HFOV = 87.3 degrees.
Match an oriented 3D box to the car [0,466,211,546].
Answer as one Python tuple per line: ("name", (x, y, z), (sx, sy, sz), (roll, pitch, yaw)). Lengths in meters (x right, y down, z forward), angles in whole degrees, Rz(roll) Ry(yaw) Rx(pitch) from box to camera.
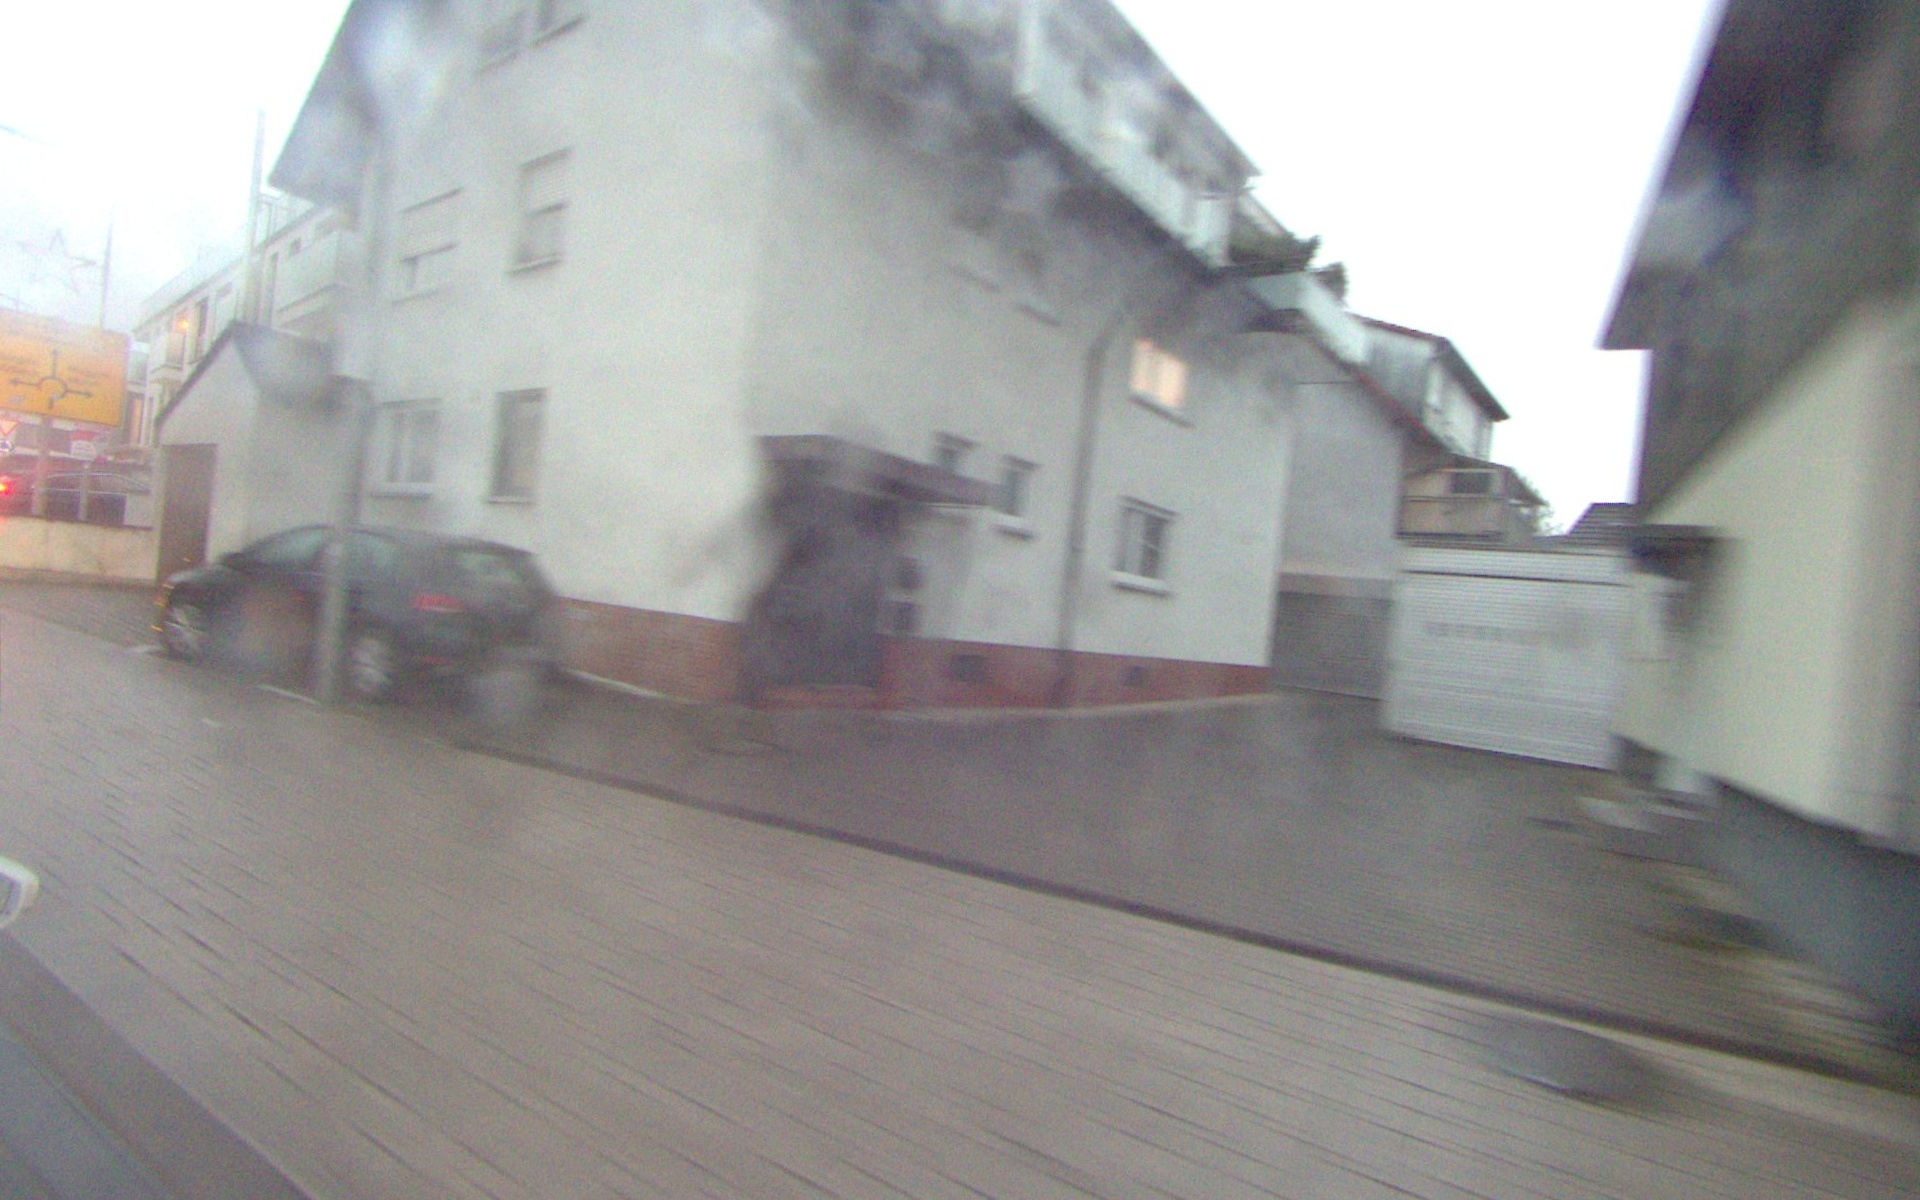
("car", (-20.284, -2.168, 23.473), (1.775, 1.664, 4.165), (7, 7, 35))

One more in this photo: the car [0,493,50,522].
("car", (-52.179, -5.137, 56.095), (1.553, 1.432, 3.568), (2, 3, -34))

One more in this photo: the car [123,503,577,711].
("car", (-5.831, 0.007, 9.611), (3.843, 1.412, 1.769), (7, 2, 24))
